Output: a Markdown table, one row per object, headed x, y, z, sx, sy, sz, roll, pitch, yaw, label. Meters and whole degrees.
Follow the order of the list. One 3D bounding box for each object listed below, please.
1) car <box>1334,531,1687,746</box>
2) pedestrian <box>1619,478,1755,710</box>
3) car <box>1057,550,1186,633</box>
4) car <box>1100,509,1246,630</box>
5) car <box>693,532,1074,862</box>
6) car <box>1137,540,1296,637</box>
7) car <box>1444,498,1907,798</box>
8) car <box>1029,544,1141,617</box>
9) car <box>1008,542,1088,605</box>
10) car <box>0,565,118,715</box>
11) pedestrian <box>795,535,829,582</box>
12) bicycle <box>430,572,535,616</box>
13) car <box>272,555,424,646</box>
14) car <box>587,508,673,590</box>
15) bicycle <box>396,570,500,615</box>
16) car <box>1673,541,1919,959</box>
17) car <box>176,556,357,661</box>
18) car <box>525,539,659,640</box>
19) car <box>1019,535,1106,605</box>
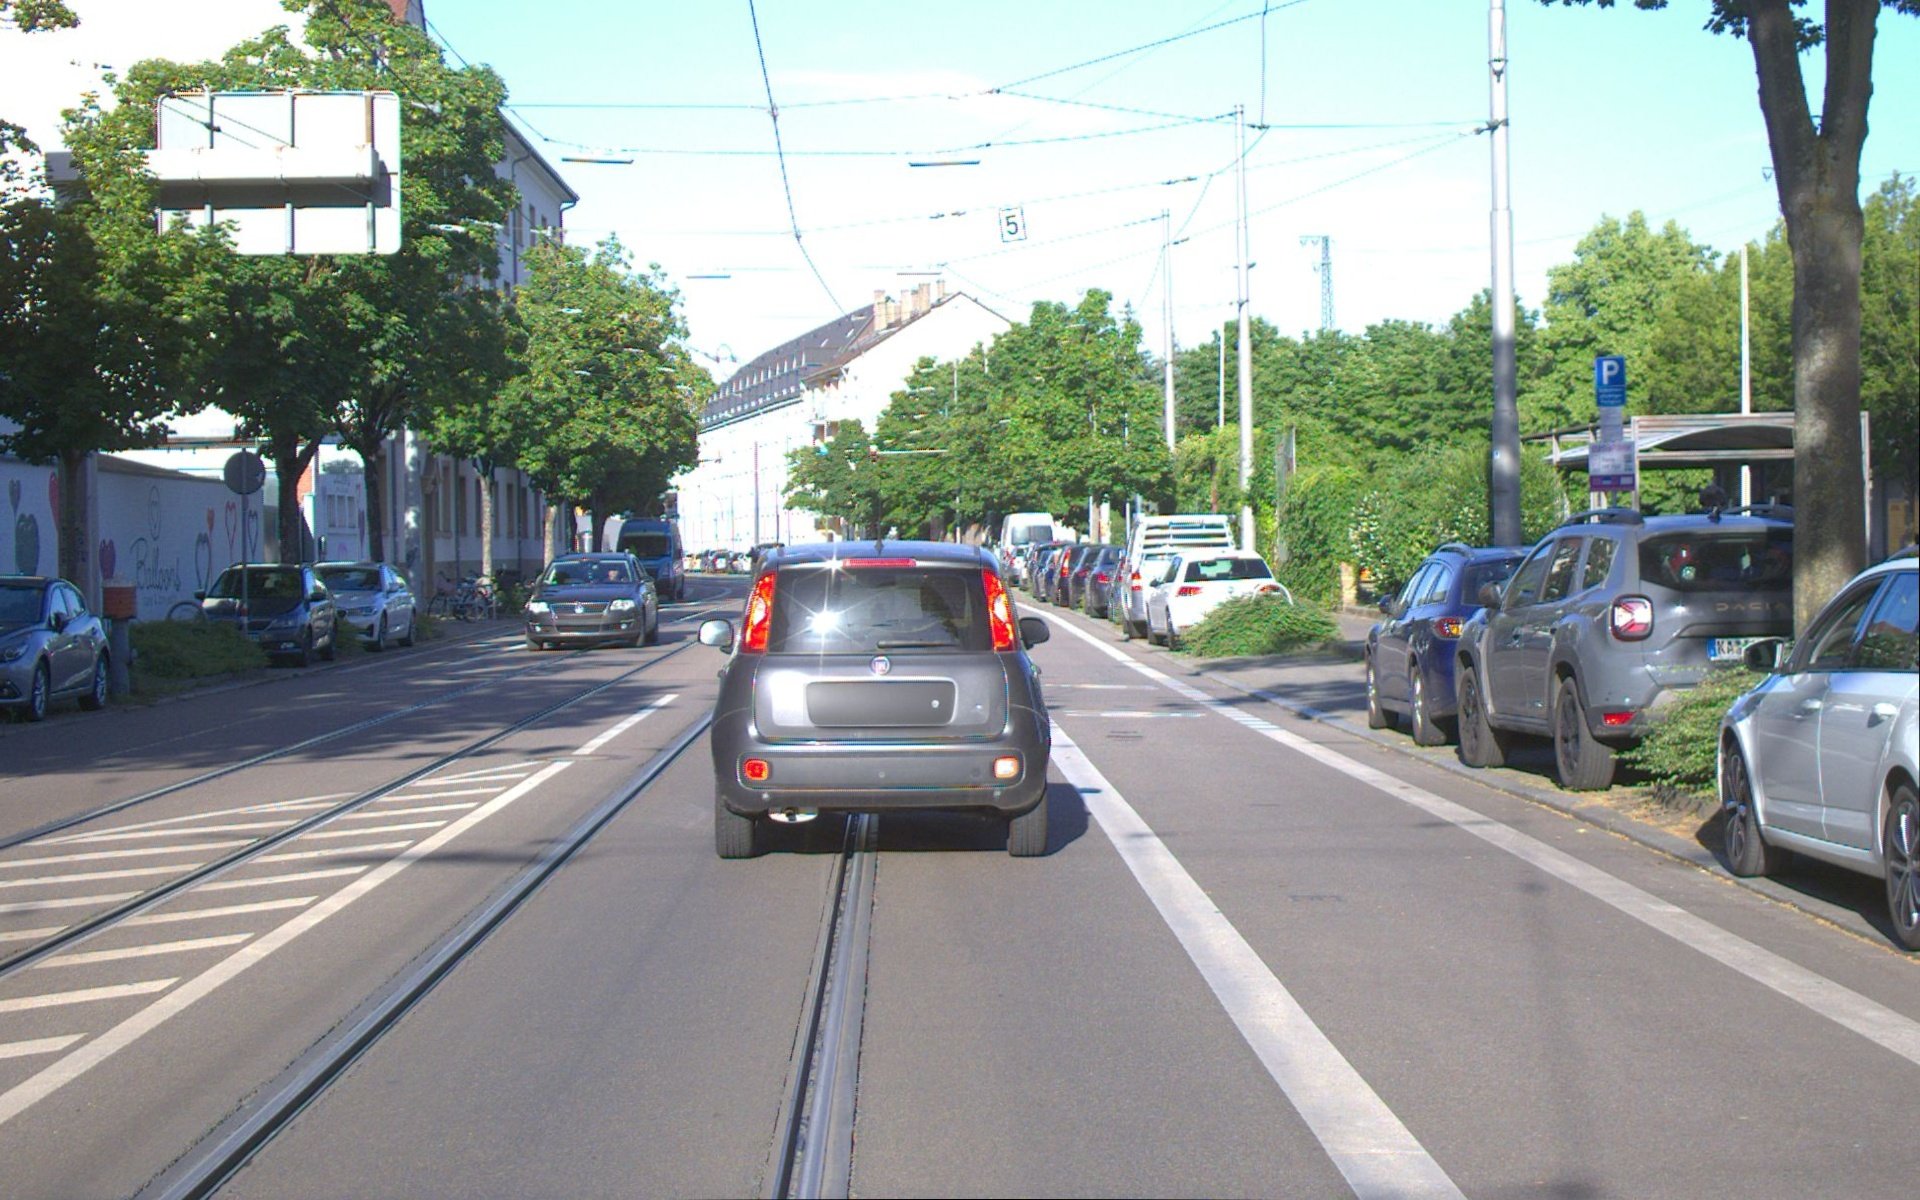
| x | y | z | sx | sy | sz | roll | pitch | yaw | label |
| --- | --- | --- | --- | --- | --- | --- | --- | --- | --- |
| 4.116 | 0.236 | 26.337 | 1.842 | 1.478 | 4.189 | -1 | 1 | -2 | car |
| 6.439 | -0.060 | 30.504 | 0.968 | 2.007 | 1.025 | -1 | 1 | 0 | pedestrian |
| 2.914 | -0.181 | 62.807 | 1.955 | 1.415 | 4.189 | -1 | 1 | -2 | car |
| 3.496 | -0.523 | 57.098 | 1.955 | 1.898 | 4.189 | -1 | 1 | -2 | car |
| -0.380 | 0.428 | 17.811 | 1.731 | 1.495 | 4.000 | -1 | 0 | -1 | car |
| 3.847 | -0.205 | 52.193 | 1.914 | 1.371 | 4.189 | -1 | 1 | -2 | car |
| 4.286 | 0.229 | 21.239 | 1.817 | 1.634 | 4.105 | -1 | 1 | -2 | car |
| 2.538 | -0.420 | 70.764 | 1.955 | 1.415 | 4.189 | -1 | 1 | -2 | car |
| 2.171 | -0.679 | 85.590 | 1.695 | 1.494 | 4.001 | -1 | 1 | -2 | car |
| -10.069 | 0.384 | 35.282 | 1.955 | 1.415 | 4.189 | -1 | 1 | -2 | car |
| -5.742 | -1.604 | 133.032 | 0.998 | 1.768 | 0.890 | -1 | 1 | -28 | pedestrian |
| -10.379 | -0.130 | 74.735 | 2.322 | 0.927 | 0.789 | 0 | 1 | 35 | bicycle |
| -10.297 | -0.021 | 58.105 | 1.955 | 1.415 | 4.189 | -1 | 1 | -2 | car |
| -10.690 | -1.670 | 111.723 | 2.333 | 2.560 | 5.672 | -1 | 1 | -1 | car |
| -10.988 | -0.168 | 73.703 | 2.263 | 0.927 | 0.789 | 0 | 1 | 35 | bicycle |
| 4.232 | 0.498 | 13.682 | 1.746 | 1.453 | 4.619 | -1 | 1 | -1 | car |
| -10.192 | 0.095 | 50.794 | 1.955 | 1.415 | 4.189 | -1 | 1 | -2 | car |
| -5.634 | -0.198 | 53.061 | 1.781 | 1.487 | 4.189 | 0 | 1 | -2 | car |
| 2.332 | -0.707 | 79.169 | 1.695 | 1.542 | 4.001 | -1 | 1 | -2 | car |
